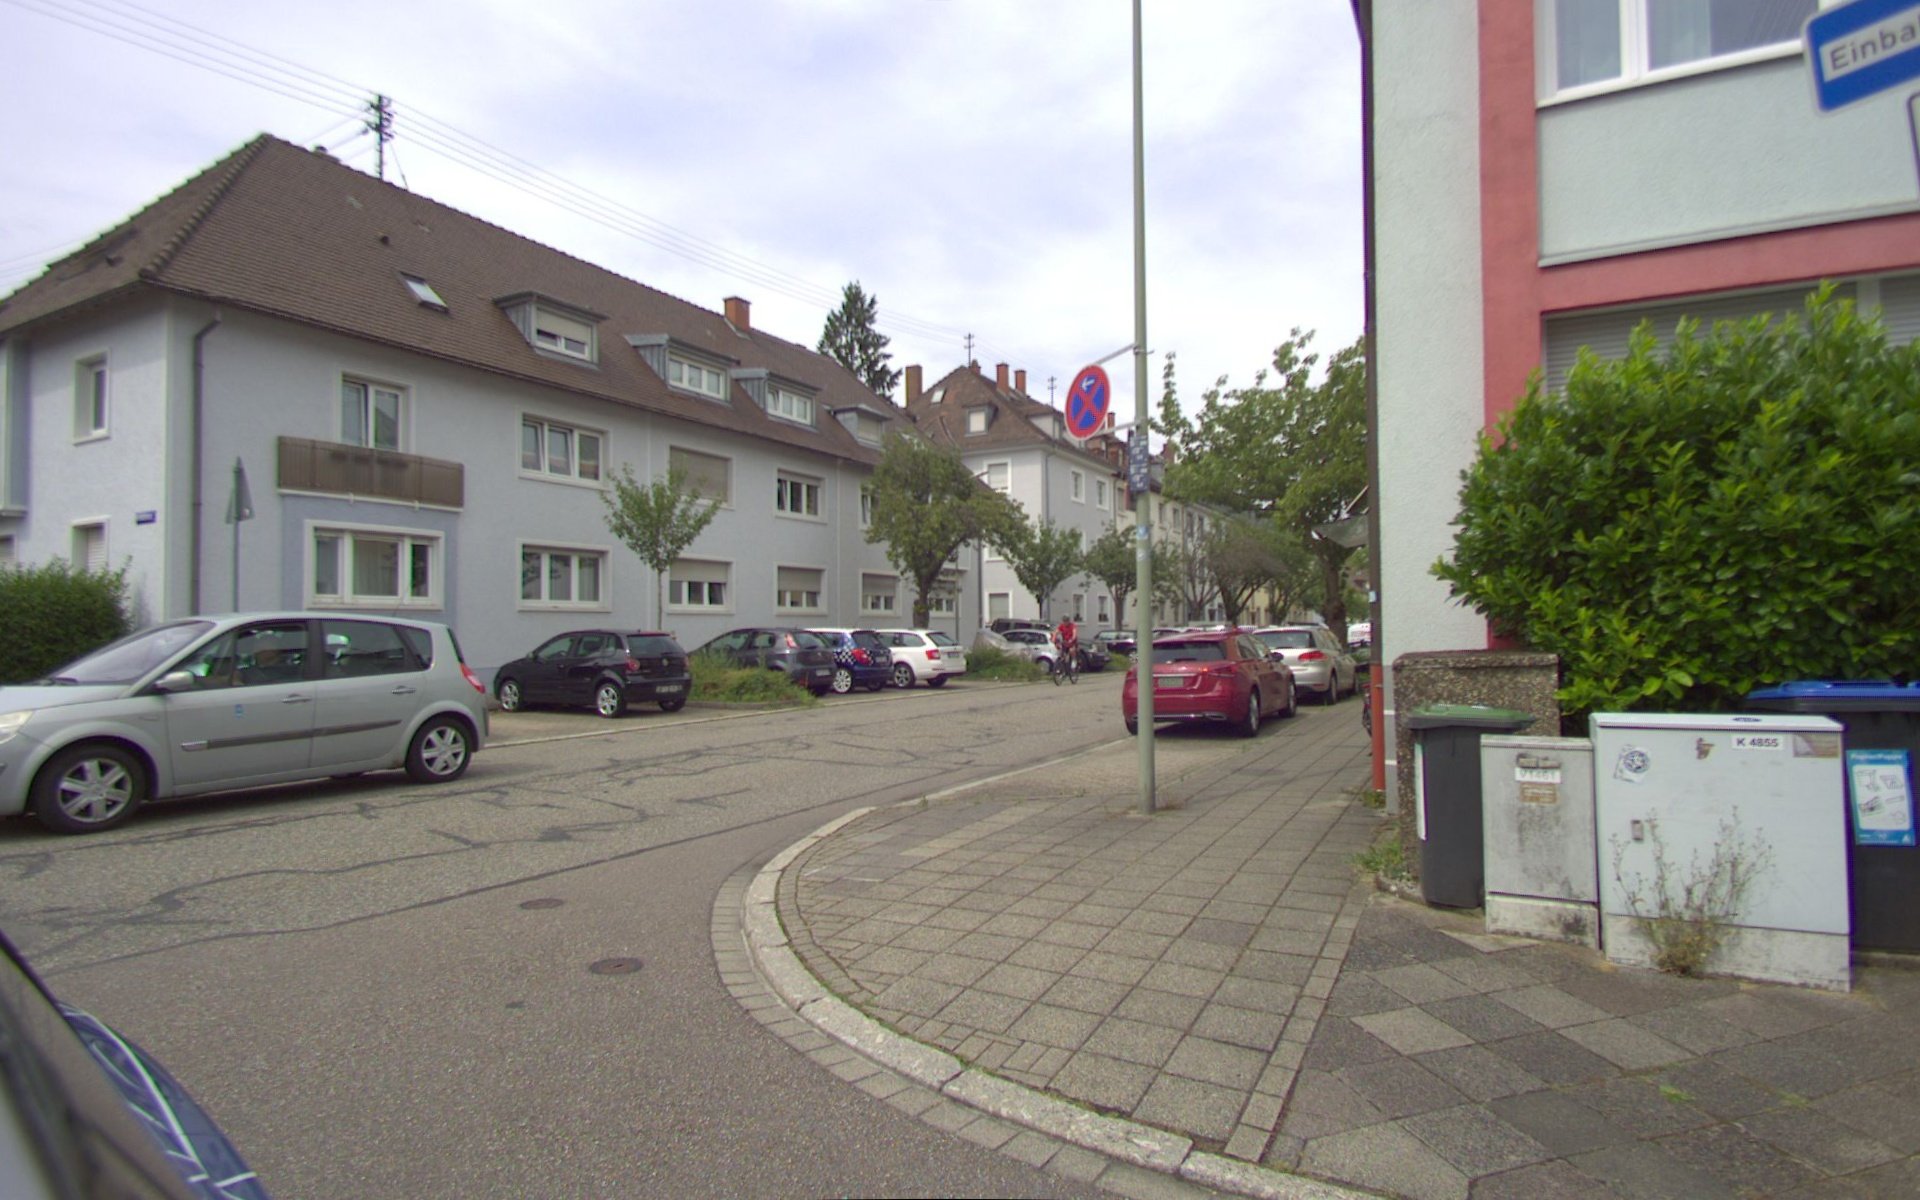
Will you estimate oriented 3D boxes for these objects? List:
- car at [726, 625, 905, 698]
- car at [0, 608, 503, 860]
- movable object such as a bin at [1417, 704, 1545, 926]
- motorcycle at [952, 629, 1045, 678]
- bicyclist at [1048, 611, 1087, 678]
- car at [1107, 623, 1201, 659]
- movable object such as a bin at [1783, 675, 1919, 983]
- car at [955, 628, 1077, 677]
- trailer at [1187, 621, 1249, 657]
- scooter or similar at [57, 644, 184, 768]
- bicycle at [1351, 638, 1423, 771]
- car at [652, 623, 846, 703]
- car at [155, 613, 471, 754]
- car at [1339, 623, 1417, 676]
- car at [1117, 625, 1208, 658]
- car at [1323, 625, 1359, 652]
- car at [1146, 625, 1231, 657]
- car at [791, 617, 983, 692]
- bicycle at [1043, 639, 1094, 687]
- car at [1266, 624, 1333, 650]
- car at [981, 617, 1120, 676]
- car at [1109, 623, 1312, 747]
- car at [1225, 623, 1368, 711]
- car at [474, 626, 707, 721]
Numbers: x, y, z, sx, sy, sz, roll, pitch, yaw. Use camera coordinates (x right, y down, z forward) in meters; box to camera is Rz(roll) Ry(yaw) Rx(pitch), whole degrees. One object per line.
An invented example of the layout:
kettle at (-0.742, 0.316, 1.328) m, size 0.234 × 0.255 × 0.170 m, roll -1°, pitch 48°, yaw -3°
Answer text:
car at (-3.432, 1.400, 23.945) m, size 3.983 × 1.519 × 1.695 m, roll 1°, pitch -1°, yaw 29°
car at (-6.330, 0.914, 8.128) m, size 1.781 × 1.616 × 4.790 m, roll -1°, pitch -2°, yaw 28°
movable object such as a bin at (2.432, 0.977, 4.764) m, size 0.484 × 0.914 × 0.472 m, roll 1°, pitch -1°, yaw 23°
motorcycle at (1.179, 1.628, 31.163) m, size 2.694 × 1.475 × 1.022 m, roll -1°, pitch -2°, yaw 25°
bicyclist at (2.904, 1.194, 27.375) m, size 0.691 × 1.783 × 0.977 m, roll -2°, pitch -3°, yaw 28°
car at (8.990, 1.890, 46.931) m, size 3.978 × 1.541 × 1.753 m, roll 1°, pitch -2°, yaw 26°
movable object such as a bin at (3.833, 0.892, 4.102) m, size 0.590 × 1.122 × 0.673 m, roll 1°, pitch -1°, yaw 22°
car at (1.847, 1.691, 33.271) m, size 3.616 × 1.465 × 1.758 m, roll 1°, pitch -1°, yaw 25°
trailer at (14.075, 2.115, 55.250) m, size 2.961 × 1.845 × 1.385 m, roll 1°, pitch -1°, yaw 33°
scooter or similar at (-9.143, 1.132, 11.024) m, size 1.232 × 1.253 × 0.420 m, roll 1°, pitch -1°, yaw 17°
bicycle at (4.201, 0.958, 9.889) m, size 0.490 × 1.161 × 1.855 m, roll -1°, pitch -2°, yaw 28°
car at (-4.595, 1.301, 21.970) m, size 3.983 × 1.519 × 1.695 m, roll 1°, pitch -1°, yaw 29°
car at (-8.703, 1.160, 13.609) m, size 3.918 × 1.646 × 1.850 m, roll -3°, pitch -7°, yaw 28°
car at (13.913, 1.577, 33.554) m, size 1.916 × 1.593 × 4.339 m, roll 1°, pitch -1°, yaw 29°
car at (9.731, 1.983, 48.704) m, size 3.979 × 1.421 × 1.752 m, roll 1°, pitch -1°, yaw 26°
car at (29.010, 2.904, 76.986) m, size 1.990 × 1.929 × 4.661 m, roll -3°, pitch -3°, yaw 26°
car at (11.297, 2.027, 50.154) m, size 3.745 × 1.452 × 1.846 m, roll 1°, pitch -1°, yaw 30°
car at (-1.894, 1.328, 25.755) m, size 4.611 × 1.676 × 1.873 m, roll 1°, pitch -1°, yaw 30°
bicycle at (2.957, 1.689, 27.435) m, size 0.691 × 1.237 × 1.918 m, roll -2°, pitch -3°, yaw 28°
car at (28.791, 3.131, 85.779) m, size 5.216 × 2.038 × 2.056 m, roll 1°, pitch -1°, yaw 25°
car at (3.130, 1.574, 35.426) m, size 4.525 × 1.872 × 1.773 m, roll 1°, pitch -1°, yaw 32°
car at (3.874, 1.126, 15.045) m, size 1.875 × 1.497 × 4.468 m, roll 1°, pitch -1°, yaw 28°
car at (6.673, 1.250, 19.794) m, size 1.770 × 1.403 × 4.232 m, roll -8°, pitch -5°, yaw 29°
car at (-6.604, 1.230, 18.011) m, size 3.983 × 1.432 × 1.695 m, roll 1°, pitch -1°, yaw 29°
